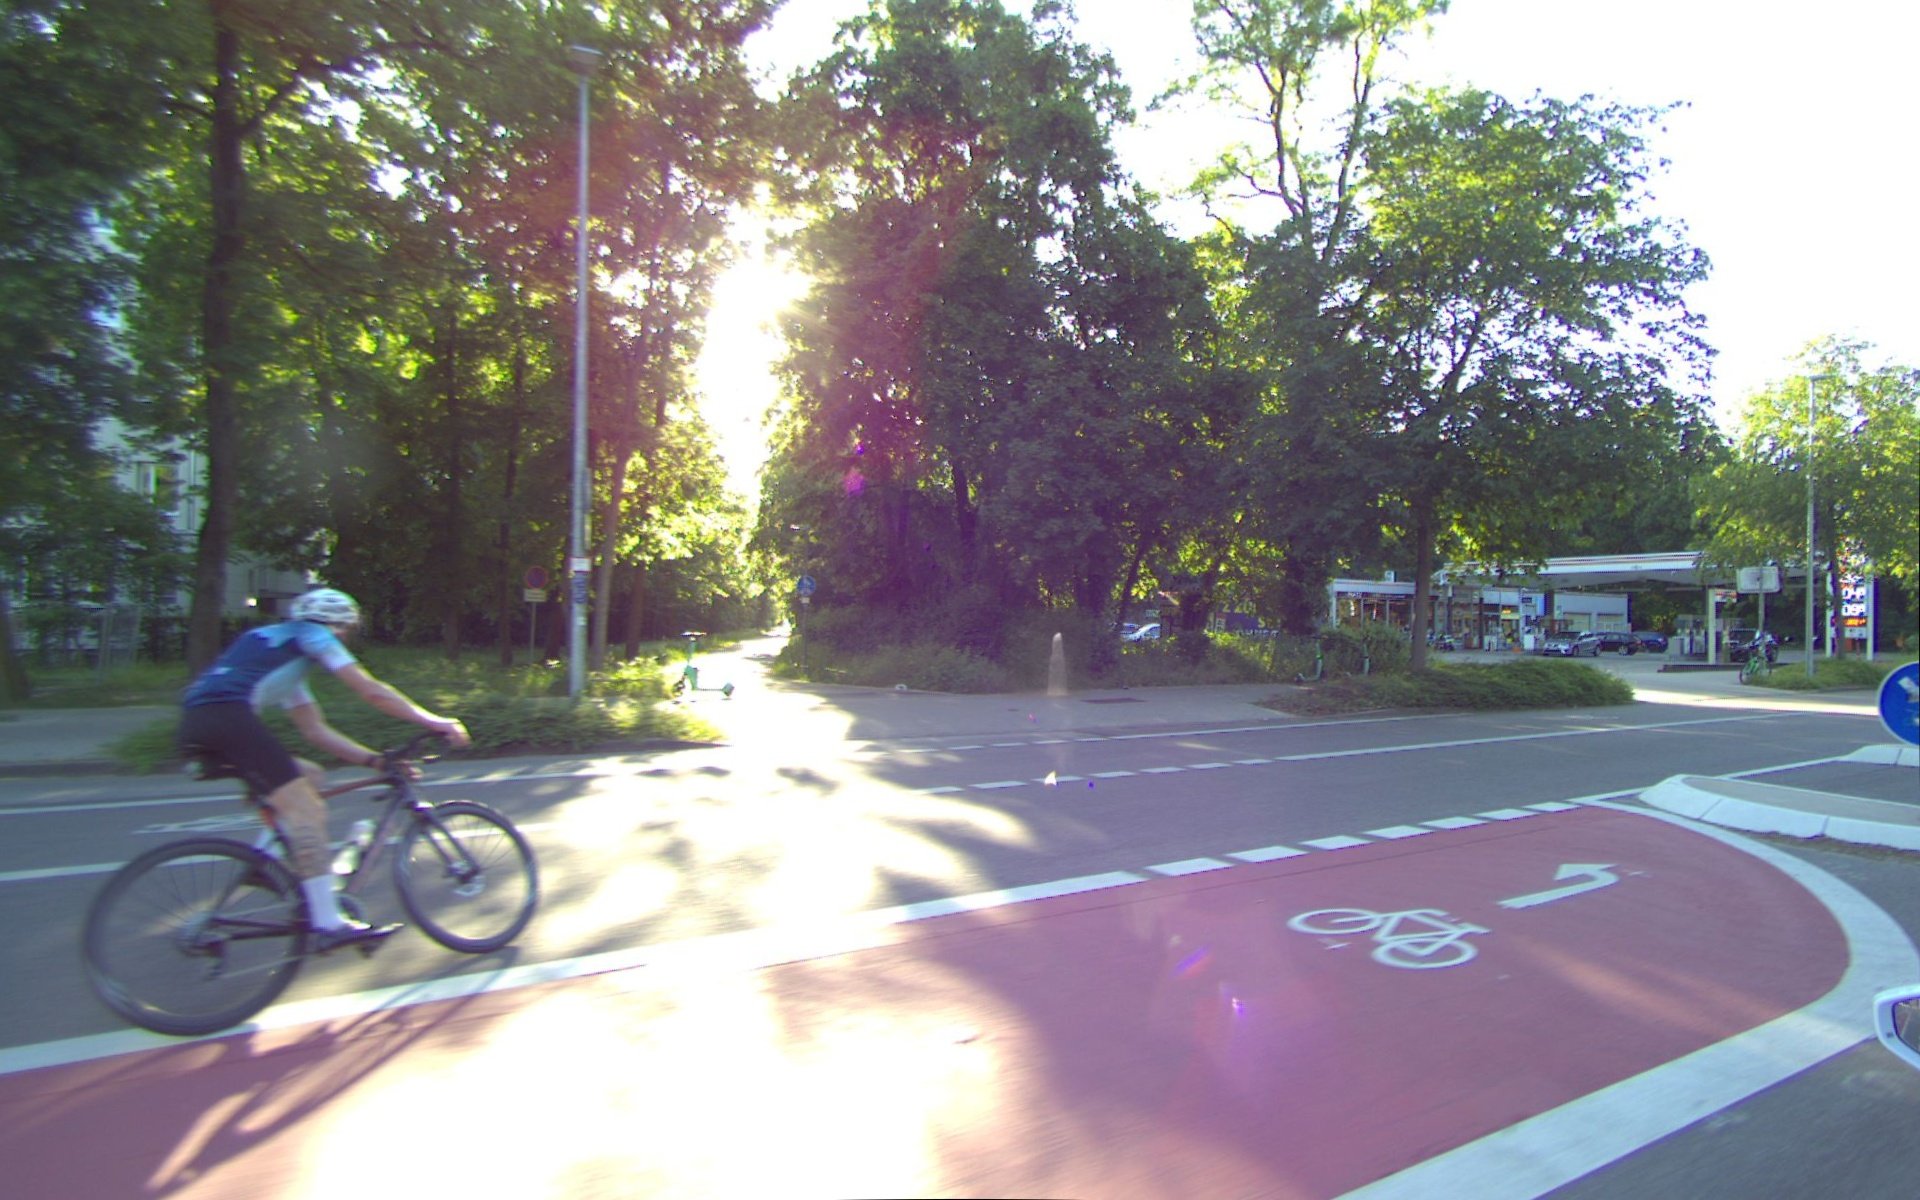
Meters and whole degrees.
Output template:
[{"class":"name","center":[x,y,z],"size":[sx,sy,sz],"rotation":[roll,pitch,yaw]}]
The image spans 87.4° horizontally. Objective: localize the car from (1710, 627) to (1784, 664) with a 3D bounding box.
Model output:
[{"class":"car","center":[39.183,2.243,49.973],"size":[4.409,1.713,1.699],"rotation":[2,-2,-35]}]

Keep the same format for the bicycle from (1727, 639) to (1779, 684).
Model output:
[{"class":"bicycle","center":[23.234,1.772,29.415],"size":[2.139,1.266,0.650],"rotation":[2,-1,-36]}]

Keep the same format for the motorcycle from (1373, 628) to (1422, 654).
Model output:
[{"class":"motorcycle","center":[25.605,2.375,58.888],"size":[2.455,1.470,1.135],"rotation":[0,-1,13]}]

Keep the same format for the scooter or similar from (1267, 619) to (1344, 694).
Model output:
[{"class":"scooter or similar","center":[8.315,1.336,24.153],"size":[1.720,1.739,0.823],"rotation":[1,-1,-30]}]

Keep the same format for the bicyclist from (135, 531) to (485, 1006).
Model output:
[{"class":"bicyclist","center":[-2.533,0.557,3.951],"size":[0.847,1.588,0.879],"rotation":[1,1,32]}]

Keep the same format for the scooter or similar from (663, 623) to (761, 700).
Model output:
[{"class":"scooter or similar","center":[-4.511,1.096,18.266],"size":[1.552,1.328,0.824],"rotation":[1,-1,-30]}]

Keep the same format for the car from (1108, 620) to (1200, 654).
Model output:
[{"class":"car","center":[9.450,1.804,49.022],"size":[3.951,1.557,1.995],"rotation":[1,-1,-12]}]

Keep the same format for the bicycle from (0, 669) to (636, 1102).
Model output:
[{"class":"bicycle","center":[-2.467,0.914,4.077],"size":[0.878,1.110,2.131],"rotation":[2,0,31]}]

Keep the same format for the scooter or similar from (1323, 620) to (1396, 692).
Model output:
[{"class":"scooter or similar","center":[9.986,1.389,25.097],"size":[1.720,1.739,0.823],"rotation":[1,-1,-30]}]

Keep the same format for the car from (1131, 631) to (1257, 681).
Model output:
[{"class":"car","center":[6.907,1.659,29.887],"size":[3.422,1.418,1.563],"rotation":[1,-3,1]}]

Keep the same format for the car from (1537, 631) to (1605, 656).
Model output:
[{"class":"car","center":[34.525,2.447,56.727],"size":[4.015,1.394,1.701],"rotation":[2,-2,-32]}]

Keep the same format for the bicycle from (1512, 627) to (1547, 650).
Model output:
[{"class":"bicycle","center":[38.461,2.579,67.855],"size":[0.917,1.496,1.829],"rotation":[1,-1,-30]}]

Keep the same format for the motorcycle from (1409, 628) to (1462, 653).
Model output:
[{"class":"motorcycle","center":[28.835,2.423,60.879],"size":[2.693,1.470,1.134],"rotation":[1,-1,-4]}]

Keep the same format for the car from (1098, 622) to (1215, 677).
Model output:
[{"class":"car","center":[6.215,1.548,32.011],"size":[3.422,1.673,1.563],"rotation":[1,-1,1]}]

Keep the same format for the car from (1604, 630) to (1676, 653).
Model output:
[{"class":"car","center":[49.324,3.003,72.960],"size":[1.880,1.576,3.961],"rotation":[1,-2,-35]}]

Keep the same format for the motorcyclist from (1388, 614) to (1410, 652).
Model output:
[{"class":"motorcyclist","center":[25.726,1.926,58.872],"size":[0.996,2.211,1.124],"rotation":[0,-1,14]}]

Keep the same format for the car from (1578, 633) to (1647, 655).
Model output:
[{"class":"car","center":[43.250,2.875,66.578],"size":[1.705,1.371,3.585],"rotation":[2,-2,-45]}]
